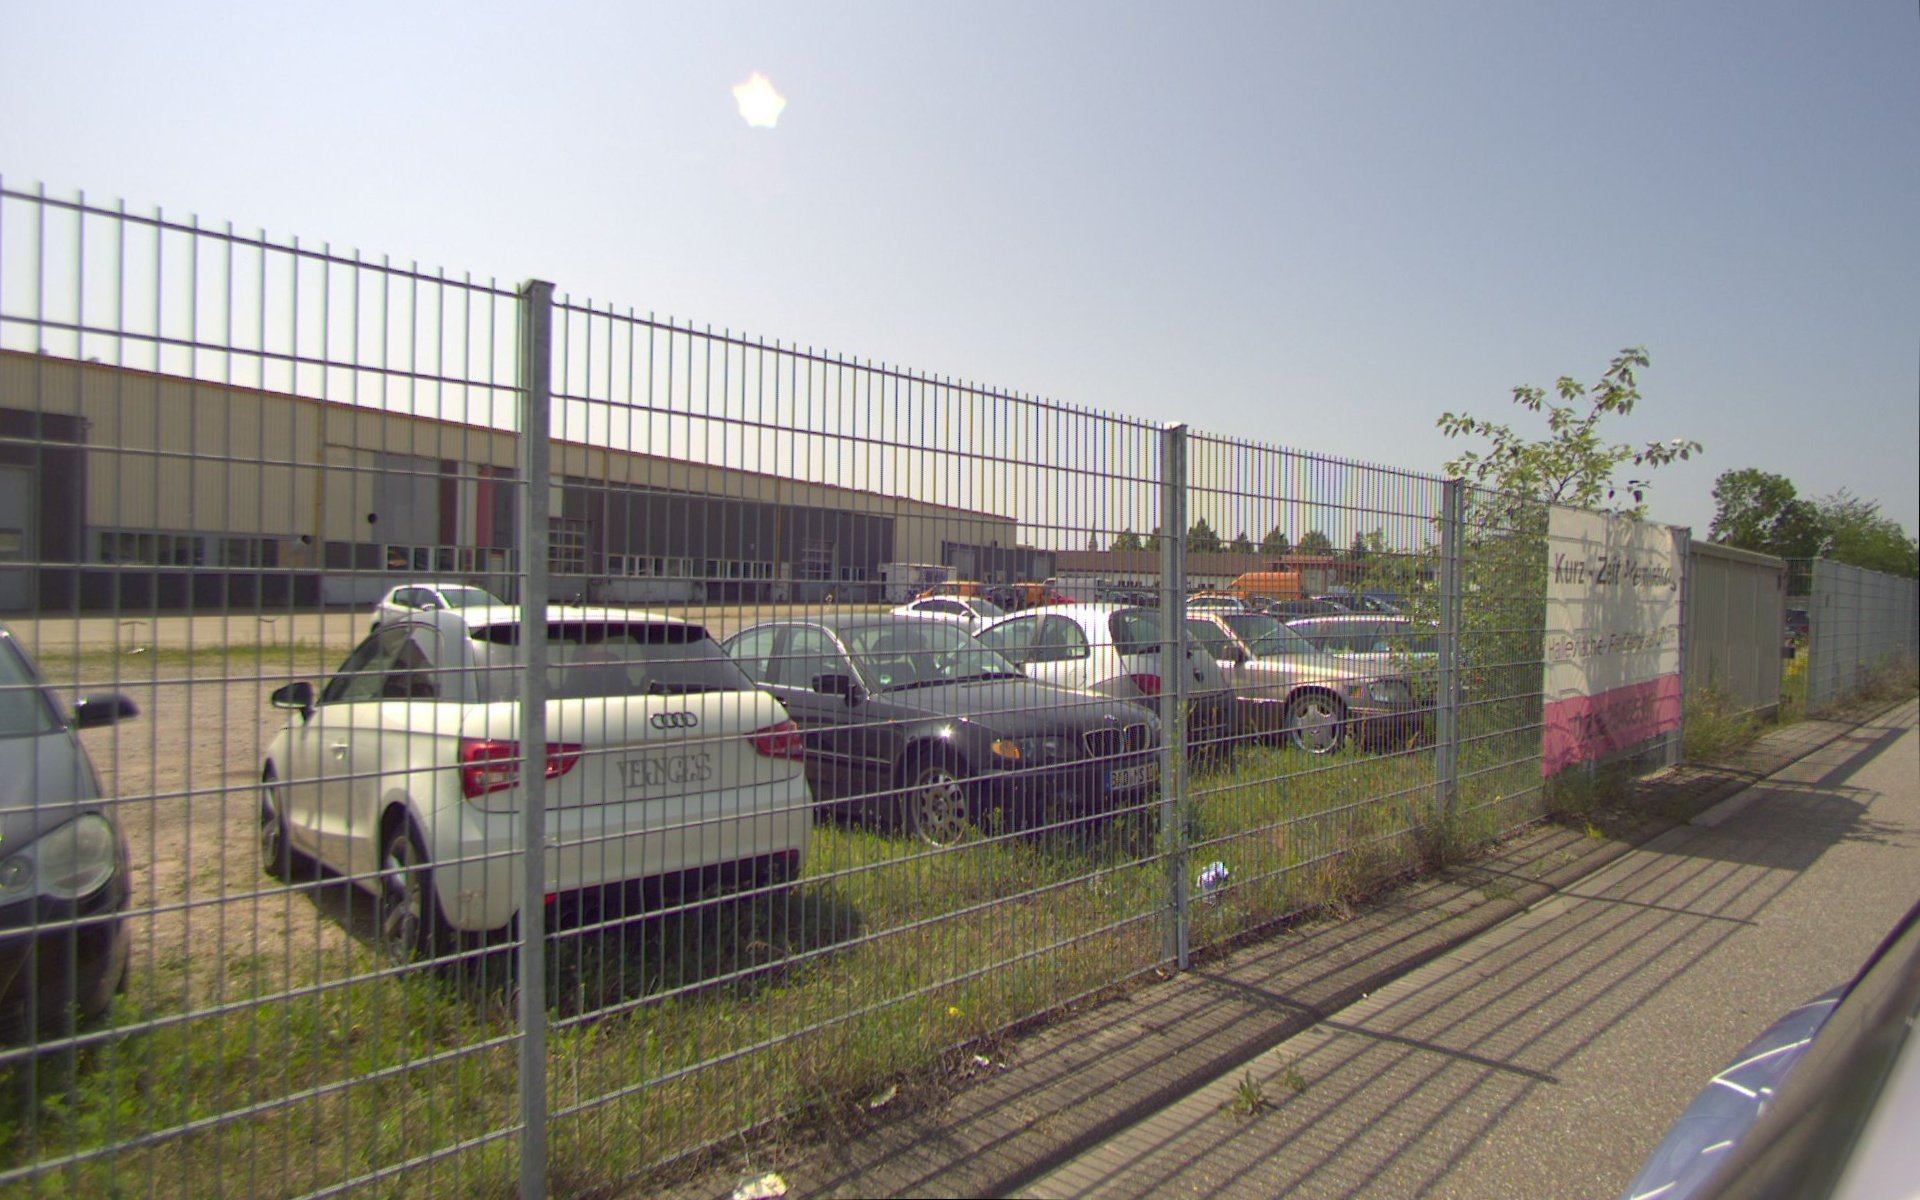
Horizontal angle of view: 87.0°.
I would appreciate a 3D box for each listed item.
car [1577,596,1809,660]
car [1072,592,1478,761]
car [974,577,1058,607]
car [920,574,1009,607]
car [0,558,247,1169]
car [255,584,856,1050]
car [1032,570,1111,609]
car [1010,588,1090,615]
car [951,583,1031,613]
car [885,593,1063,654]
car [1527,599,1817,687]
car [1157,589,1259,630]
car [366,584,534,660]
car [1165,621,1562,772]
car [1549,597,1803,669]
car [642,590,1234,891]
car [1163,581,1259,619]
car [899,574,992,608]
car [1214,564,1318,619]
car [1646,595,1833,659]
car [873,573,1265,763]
[{"bbox_3d":[17.727,0.655,24.649,1.805,1.424,4.220,0,-1,-37],"label":"car"},{"bbox_3d":[3.109,0.640,10.495,1.711,1.371,3.667,0,1,-42],"label":"car"},{"bbox_3d":[3.181,-0.457,57.888,4.355,1.504,1.952,3,1,31],"label":"car"},{"bbox_3d":[0.234,-0.493,52.901,4.355,1.504,1.734,3,1,31],"label":"car"},{"bbox_3d":[-3.942,0.625,3.422,3.646,1.496,1.726,1,2,42],"label":"car"},{"bbox_3d":[-2.238,0.669,5.054,1.609,1.406,3.528,0,1,-43],"label":"car"},{"bbox_3d":[6.852,-0.673,62.361,4.355,2.199,1.952,3,1,31],"label":"car"},{"bbox_3d":[5.322,0.083,59.771,4.359,1.395,1.820,3,1,33],"label":"car"},{"bbox_3d":[1.725,-0.125,55.830,3.970,1.482,1.977,2,1,32],"label":"car"},{"bbox_3d":[0.301,0.542,26.288,4.493,1.368,1.606,2,1,35],"label":"car"},{"bbox_3d":[14.218,0.773,20.405,1.808,1.423,4.514,0,2,-44],"label":"car"},{"bbox_3d":[10.304,0.378,42.087,3.803,1.480,1.570,3,1,33],"label":"car"},{"bbox_3d":[-10.972,0.416,21.729,3.637,1.454,1.519,2,1,31],"label":"car"},{"bbox_3d":[4.700,1.029,12.257,1.611,1.493,4.165,0,-1,-44],"label":"car"},{"bbox_3d":[15.618,0.688,22.276,1.805,1.424,4.220,0,-1,-37],"label":"car"},{"bbox_3d":[-0.423,0.656,6.936,1.694,1.371,4.187,0,1,-43],"label":"car"},{"bbox_3d":[11.138,-0.017,44.936,3.803,1.480,1.570,3,1,33],"label":"car"},{"bbox_3d":[-0.747,-0.471,50.829,4.355,1.504,1.734,3,1,31],"label":"car"},{"bbox_3d":[15.689,-0.443,51.954,4.713,2.617,1.957,3,1,33],"label":"car"},{"bbox_3d":[23.556,0.766,30.690,1.736,1.658,4.284,2,1,-44],"label":"car"},{"bbox_3d":[0.853,0.464,9.044,1.503,1.371,3.269,0,1,-45],"label":"car"}]
